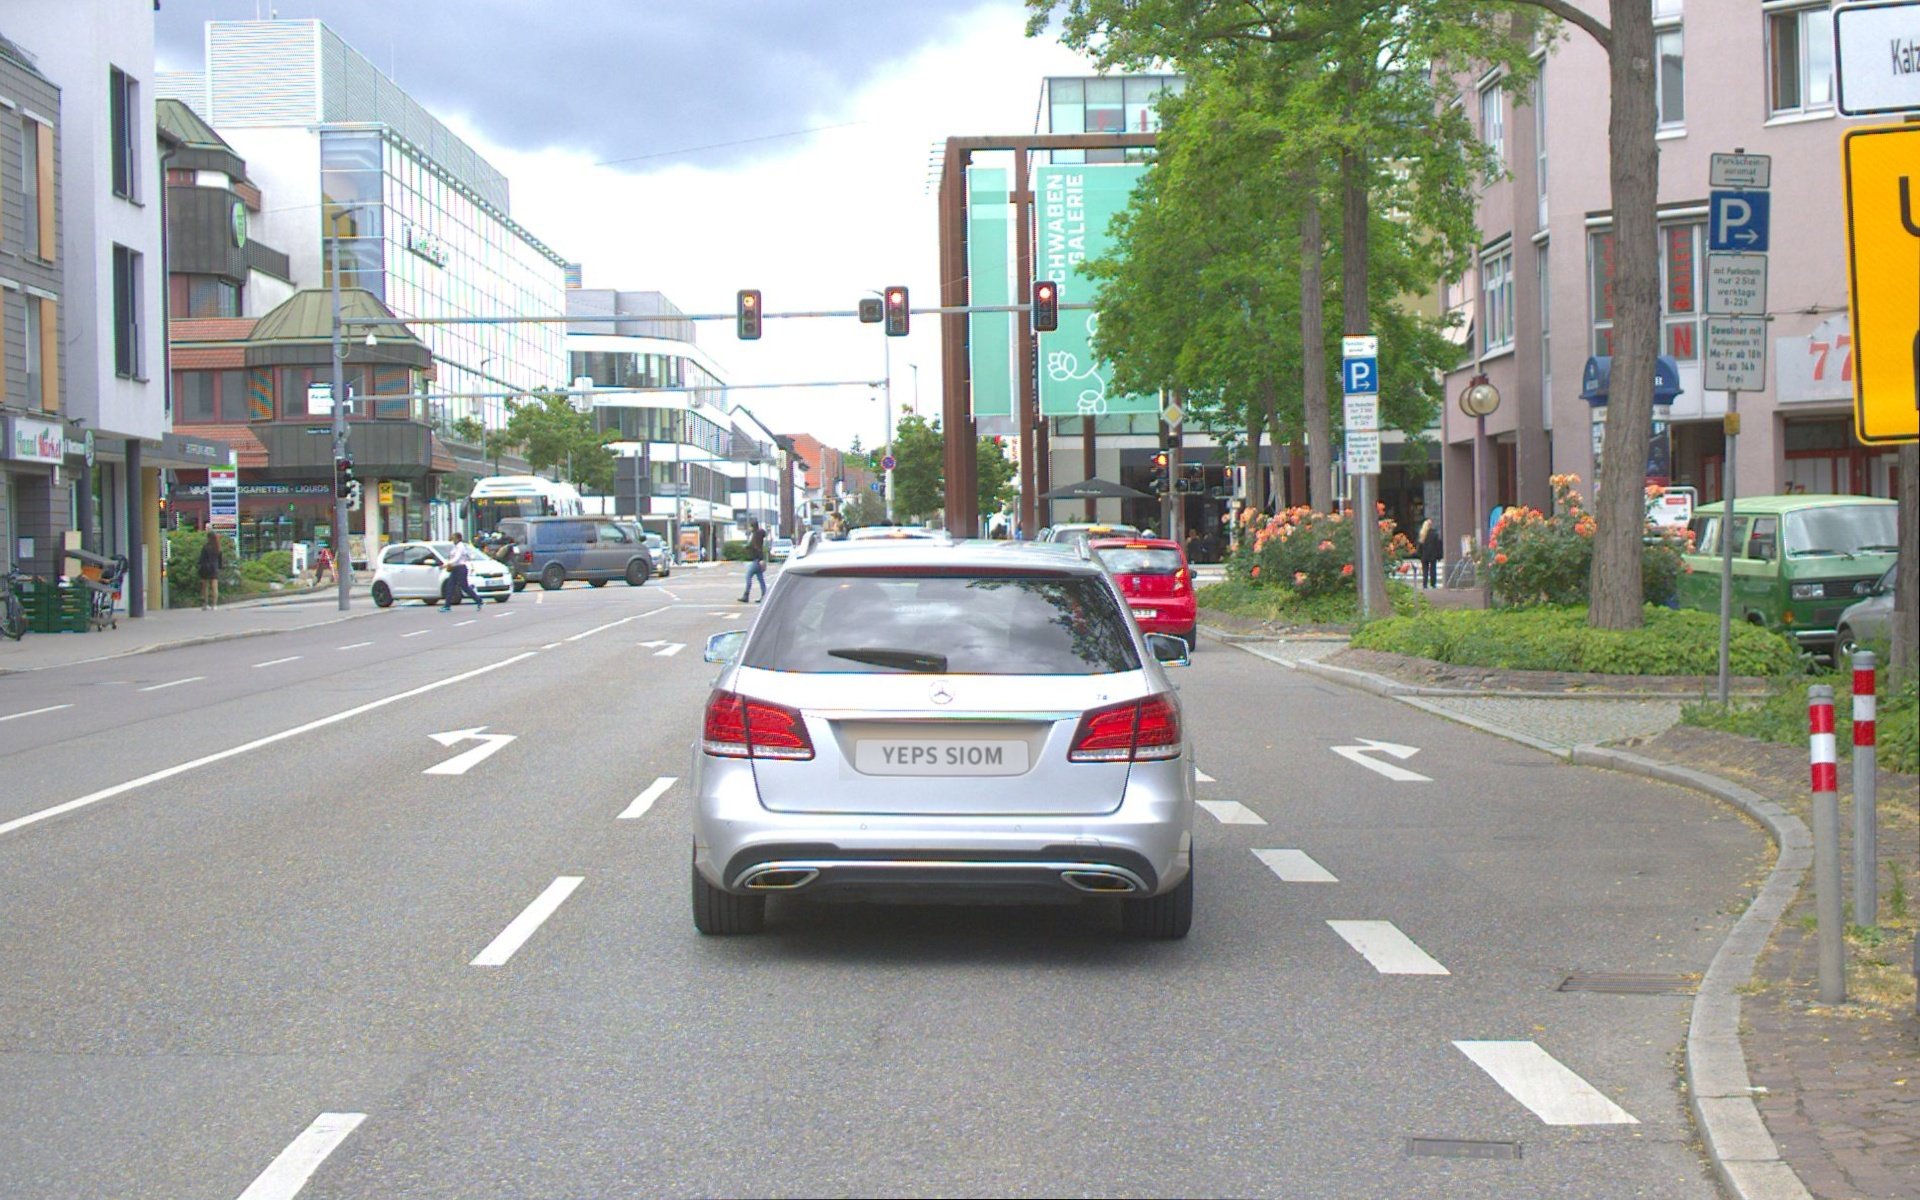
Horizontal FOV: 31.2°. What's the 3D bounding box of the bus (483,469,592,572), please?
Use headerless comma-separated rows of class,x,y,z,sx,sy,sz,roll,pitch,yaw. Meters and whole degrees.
bus,-13.521,-2.544,110.421,2.775,3.154,5.933,-1,1,0

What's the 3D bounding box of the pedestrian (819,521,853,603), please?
pedestrian,-2.501,-0.768,69.505,0.613,1.629,0.588,2,1,-4

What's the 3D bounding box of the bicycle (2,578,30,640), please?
bicycle,-14.018,0.129,51.054,0.273,0.888,1.229,-1,1,-10

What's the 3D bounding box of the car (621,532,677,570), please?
car,-10.607,-1.681,117.512,1.575,1.240,3.607,-1,1,0

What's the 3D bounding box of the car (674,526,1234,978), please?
car,-0.115,0.478,13.569,1.874,1.501,4.001,-1,1,-3

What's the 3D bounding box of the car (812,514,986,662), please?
car,-0.732,-0.181,41.994,1.993,1.678,4.000,-1,1,-1

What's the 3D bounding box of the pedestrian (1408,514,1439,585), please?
pedestrian,10.874,-1.182,80.651,0.613,1.629,0.587,2,1,12

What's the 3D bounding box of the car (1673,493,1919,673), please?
car,9.335,-0.219,37.944,1.866,1.858,4.001,-1,1,-3

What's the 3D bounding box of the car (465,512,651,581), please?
car,-11.156,-1.499,95.577,4.911,1.816,1.999,-2,2,-44

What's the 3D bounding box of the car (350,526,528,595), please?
car,-11.953,-0.902,78.780,3.995,1.525,1.663,0,1,36

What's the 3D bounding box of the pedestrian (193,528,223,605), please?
pedestrian,-16.615,-0.746,75.913,0.586,1.664,0.642,2,2,-14

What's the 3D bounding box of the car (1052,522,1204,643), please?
car,2.212,-0.248,46.156,1.754,1.515,4.000,-1,1,-1

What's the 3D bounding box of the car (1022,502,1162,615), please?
car,2.052,-0.676,54.459,1.993,1.678,4.000,-1,1,-1

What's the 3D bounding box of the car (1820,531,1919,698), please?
car,9.722,0.109,32.683,1.866,1.522,4.001,-1,1,-3

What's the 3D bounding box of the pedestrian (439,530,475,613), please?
pedestrian,-10.037,-0.572,68.617,0.613,1.629,0.588,2,1,-13

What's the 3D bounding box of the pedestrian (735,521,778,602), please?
pedestrian,-4.201,-0.790,70.830,0.833,1.629,0.588,2,1,-4

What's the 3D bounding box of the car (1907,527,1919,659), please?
car,12.081,-0.069,38.079,1.866,1.522,4.001,-1,1,-3
